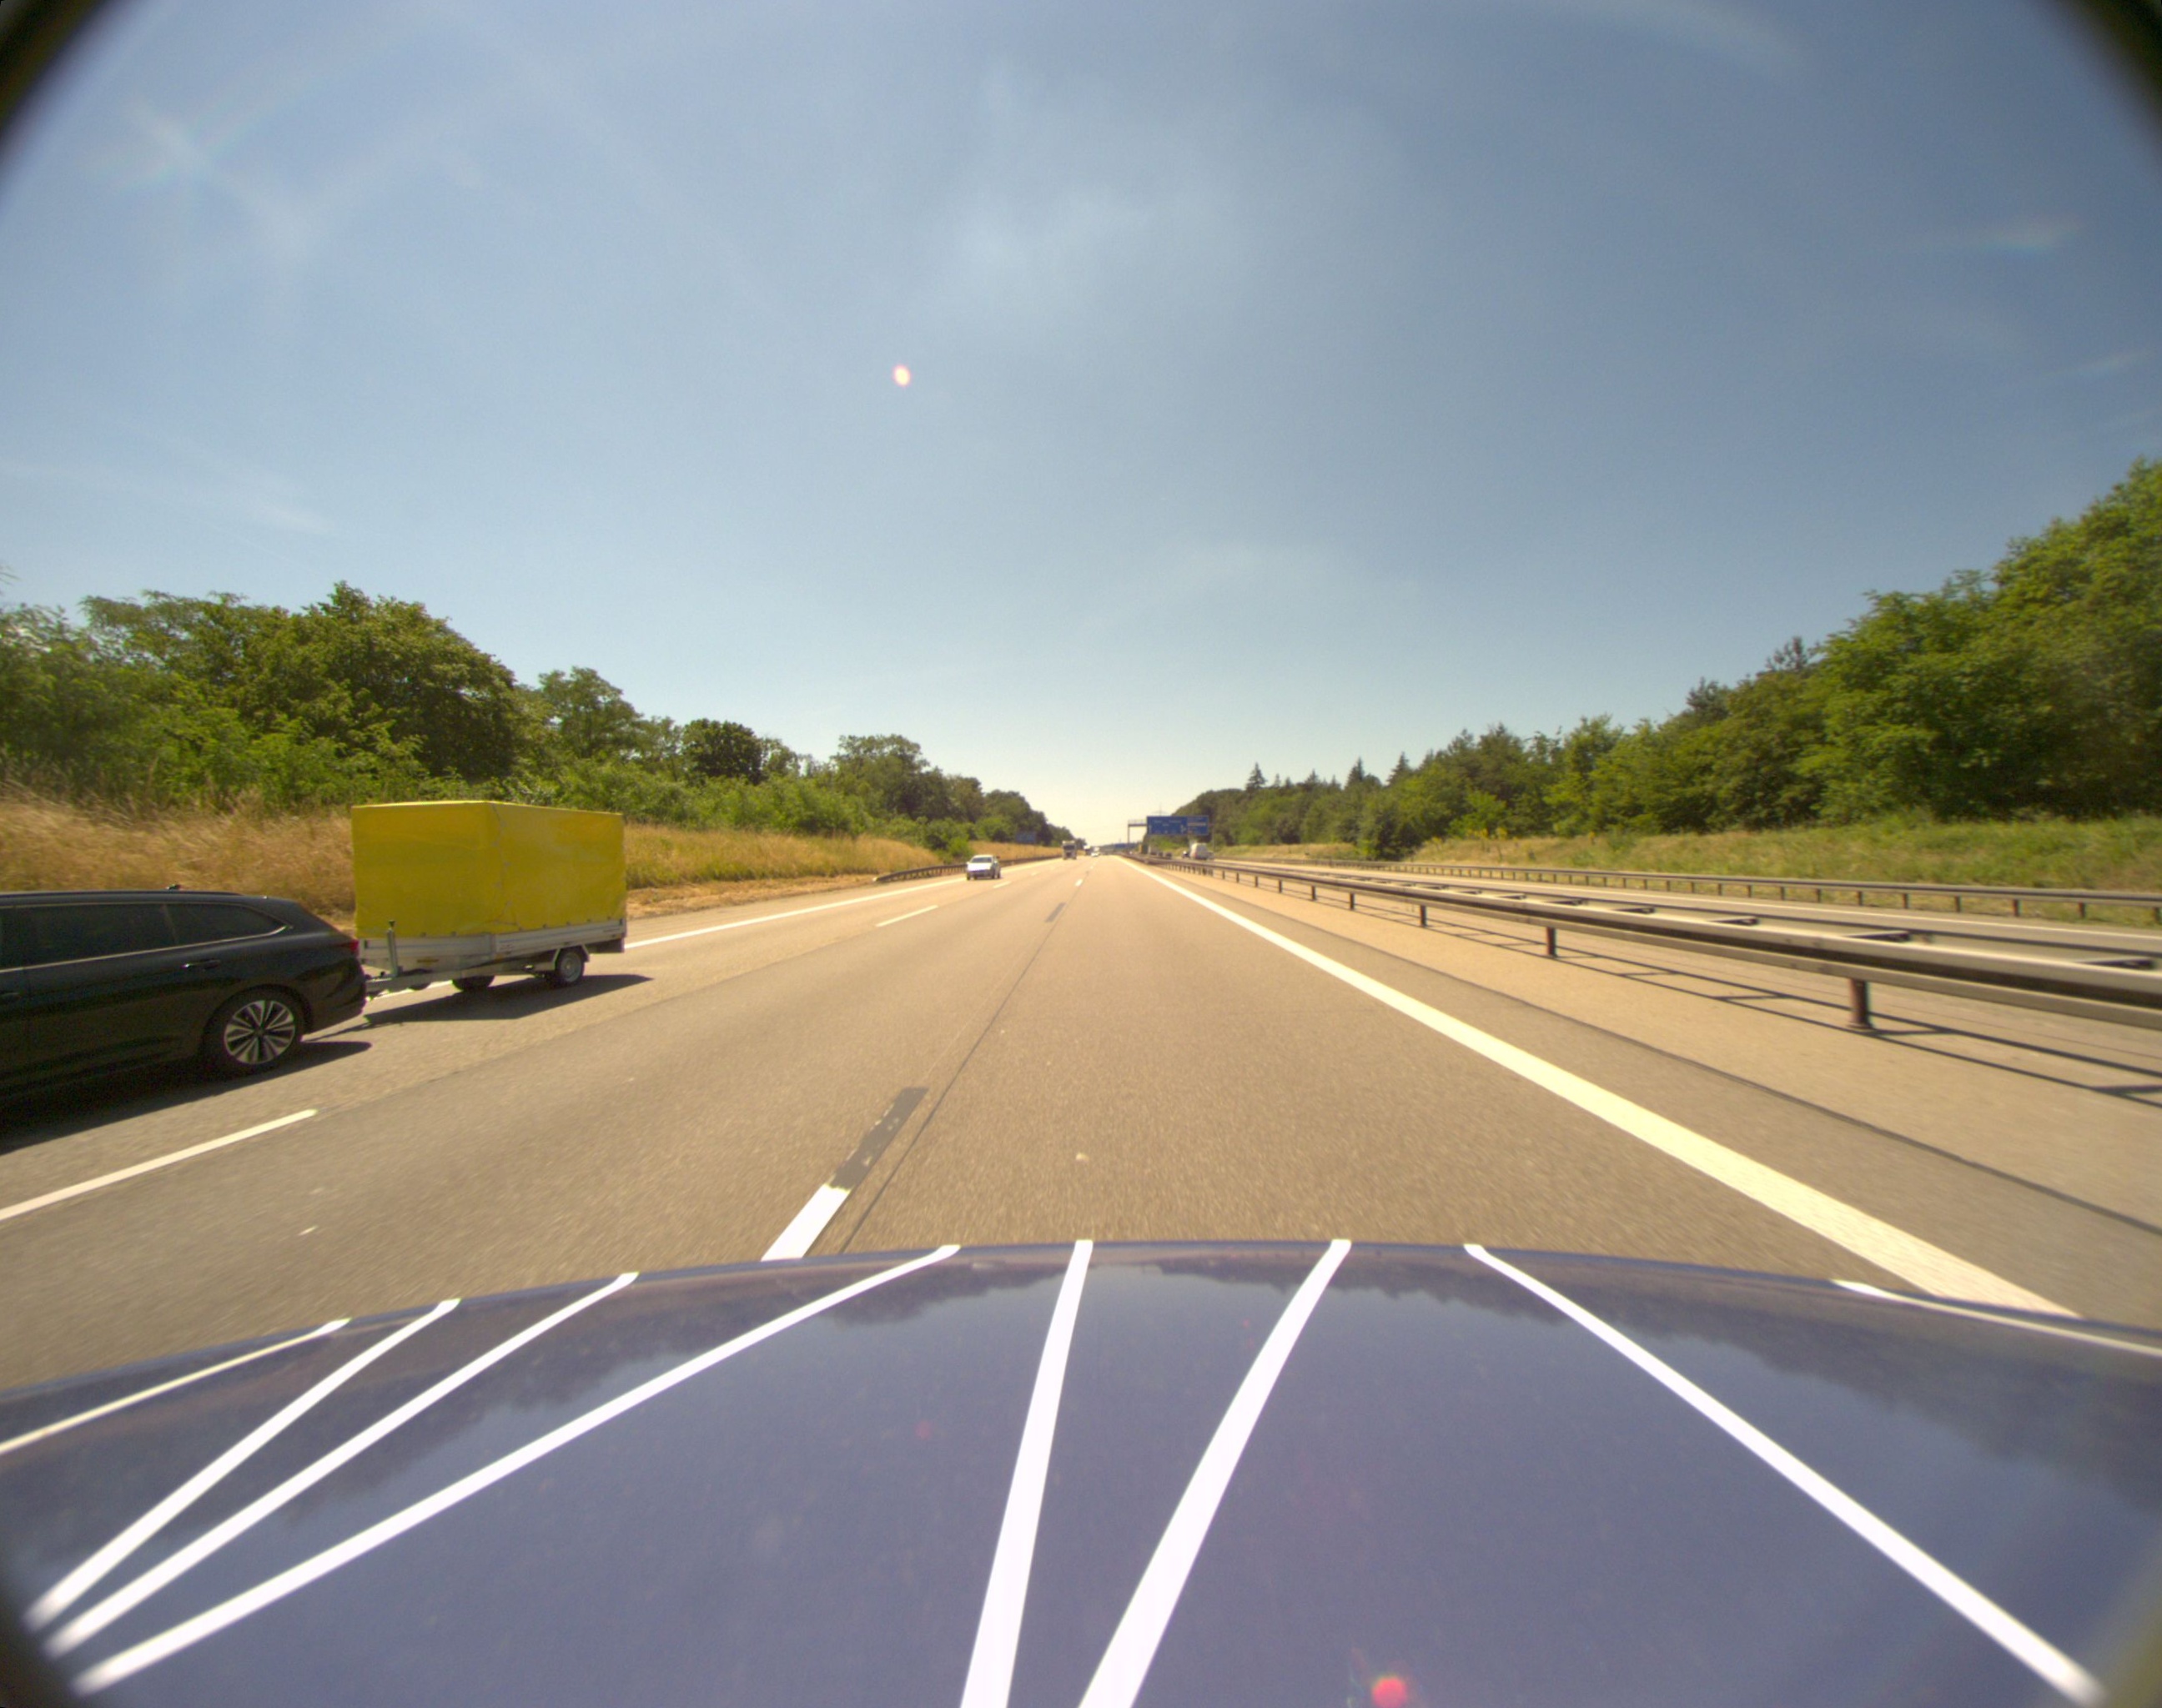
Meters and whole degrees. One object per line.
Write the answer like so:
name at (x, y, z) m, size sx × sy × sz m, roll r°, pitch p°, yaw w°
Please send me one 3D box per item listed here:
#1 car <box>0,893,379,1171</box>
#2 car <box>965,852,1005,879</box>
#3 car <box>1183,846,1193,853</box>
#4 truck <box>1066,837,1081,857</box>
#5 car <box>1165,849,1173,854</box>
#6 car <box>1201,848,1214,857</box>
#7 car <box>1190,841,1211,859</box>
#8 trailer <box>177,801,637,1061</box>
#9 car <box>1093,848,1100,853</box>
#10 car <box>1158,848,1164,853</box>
car at (-7.130, 1.122, 4.272) m, size 1.826 × 1.447 × 4.788 m, roll -2°, pitch 1°, yaw 1°
car at (-5.842, 0.669, 46.626) m, size 1.749 × 1.457 × 3.980 m, roll -2°, pitch 1°, yaw 2°
car at (23.821, -1.016, 169.642) m, size 1.706 × 1.536 × 4.535 m, roll 2°, pitch 0°, yaw 2°
truck at (-1.554, -1.371, 153.585) m, size 2.605 × 3.811 × 5.969 m, roll -2°, pitch 0°, yaw 2°
car at (25.568, -0.842, 220.653) m, size 1.679 × 1.358 × 4.890 m, roll 2°, pitch 0°, yaw 2°
car at (22.855, -0.309, 137.312) m, size 1.706 × 1.651 × 5.116 m, roll 2°, pitch 0°, yaw 2°
car at (18.264, -0.584, 116.279) m, size 2.170 × 2.609 × 7.543 m, roll 2°, pitch 0°, yaw 2°
trailer at (-7.139, 0.673, 8.703) m, size 1.707 × 2.276 × 3.839 m, roll -2°, pitch 1°, yaw 1°
car at (4.230, -0.914, 207.298) m, size 1.796 × 1.412 × 4.000 m, roll -2°, pitch 1°, yaw 1°
car at (26.254, -1.241, 248.558) m, size 1.527 × 1.531 × 4.110 m, roll 2°, pitch 1°, yaw 2°
